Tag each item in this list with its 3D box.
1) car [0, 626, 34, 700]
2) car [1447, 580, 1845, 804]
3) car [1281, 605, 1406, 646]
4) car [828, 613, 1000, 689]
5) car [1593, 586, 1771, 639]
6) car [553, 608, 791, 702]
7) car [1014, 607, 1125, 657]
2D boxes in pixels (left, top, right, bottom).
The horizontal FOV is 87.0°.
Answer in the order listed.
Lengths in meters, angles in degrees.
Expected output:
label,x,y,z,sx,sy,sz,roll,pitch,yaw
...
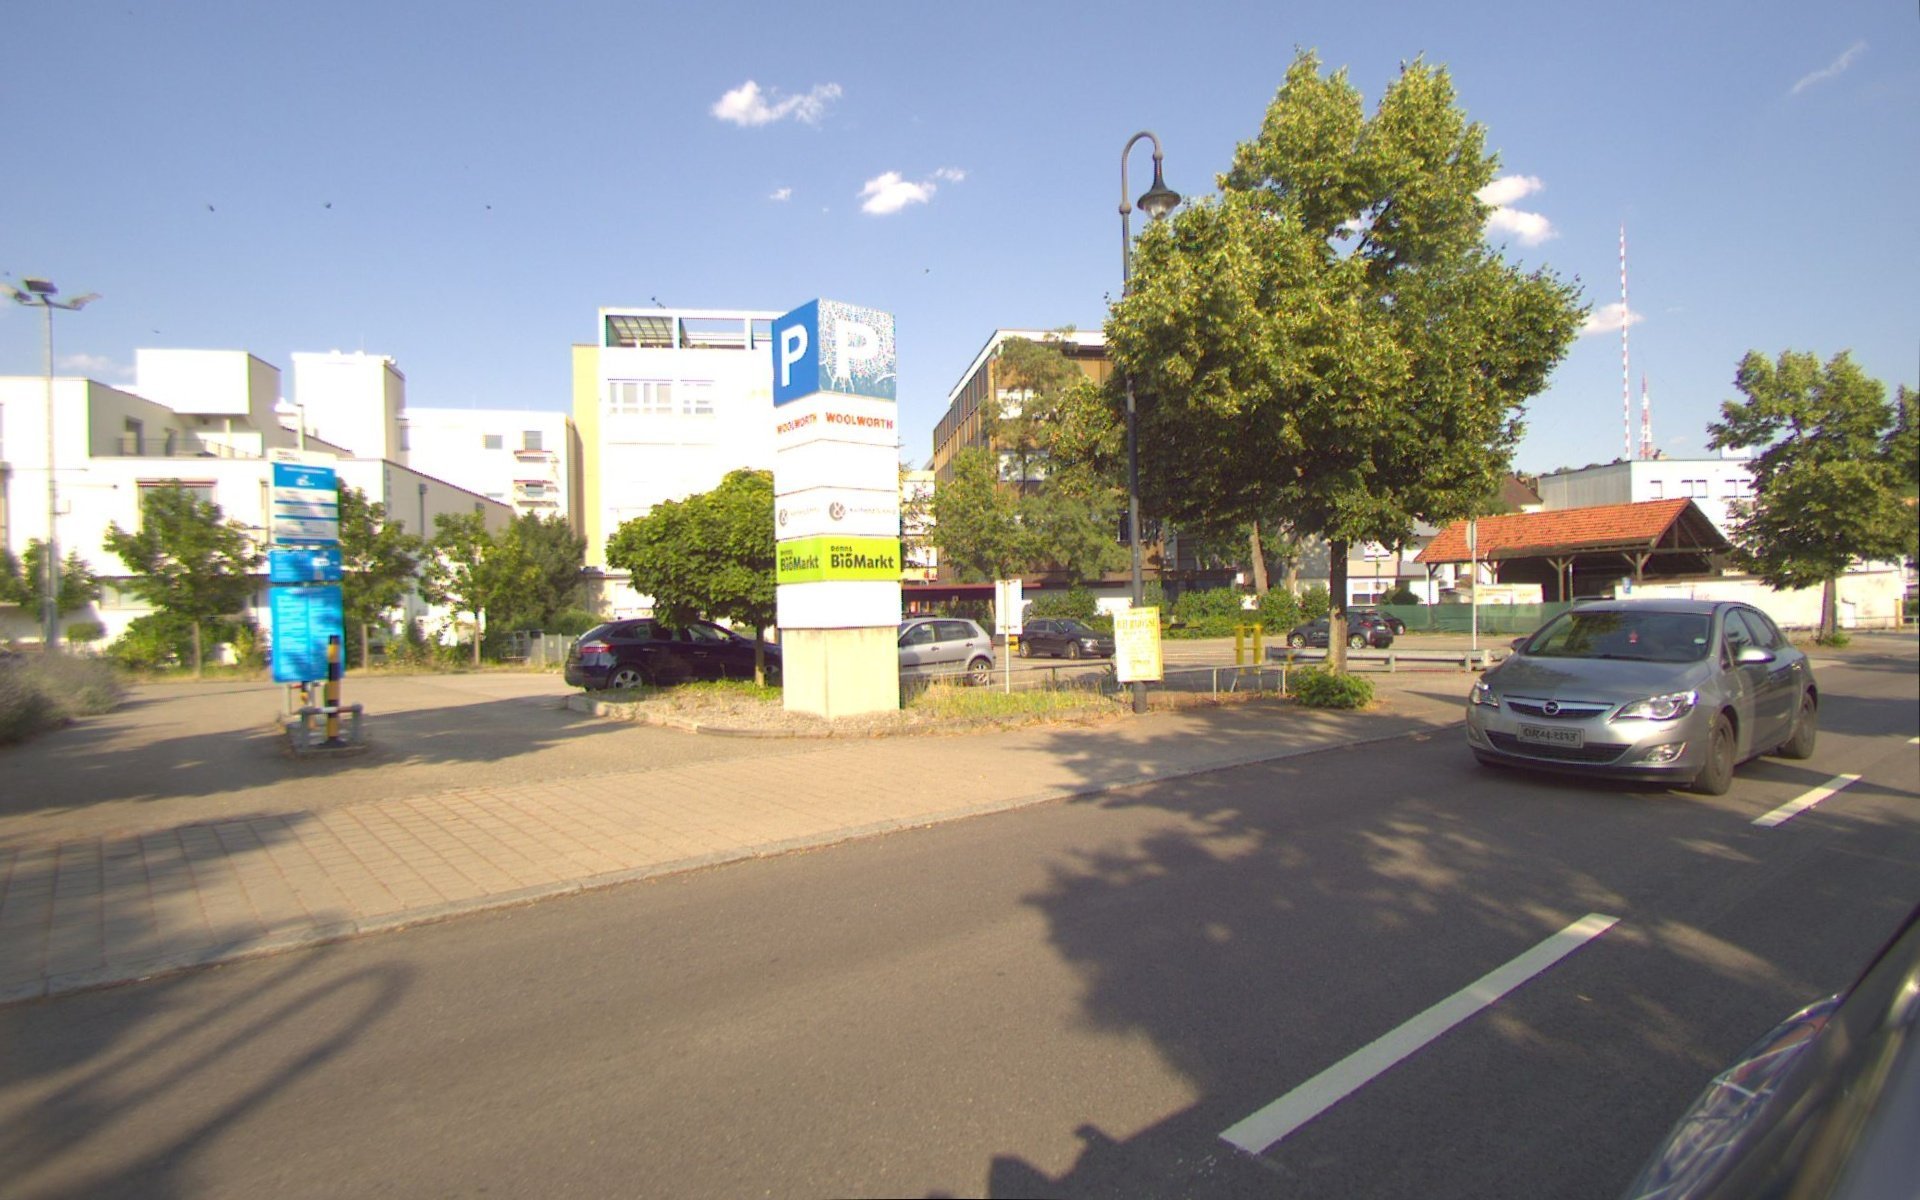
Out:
label,x,y,z,sx,sy,sz,roll,pitch,yaw
car,-23.798,1.469,22.618,4.467,1.669,1.997,0,-1,-40
car,6.117,0.616,8.837,4.228,1.509,1.725,0,0,-39
car,14.325,0.936,38.001,1.901,1.438,3.999,0,-1,-34
car,-0.926,0.998,20.947,3.205,1.417,1.615,0,-1,-36
car,21.207,0.375,29.848,1.901,1.438,3.837,0,-1,-35
car,-5.123,0.924,18.175,3.792,1.481,1.658,0,-1,-34
car,3.884,1.128,36.529,1.900,1.676,4.086,0,-1,-32
